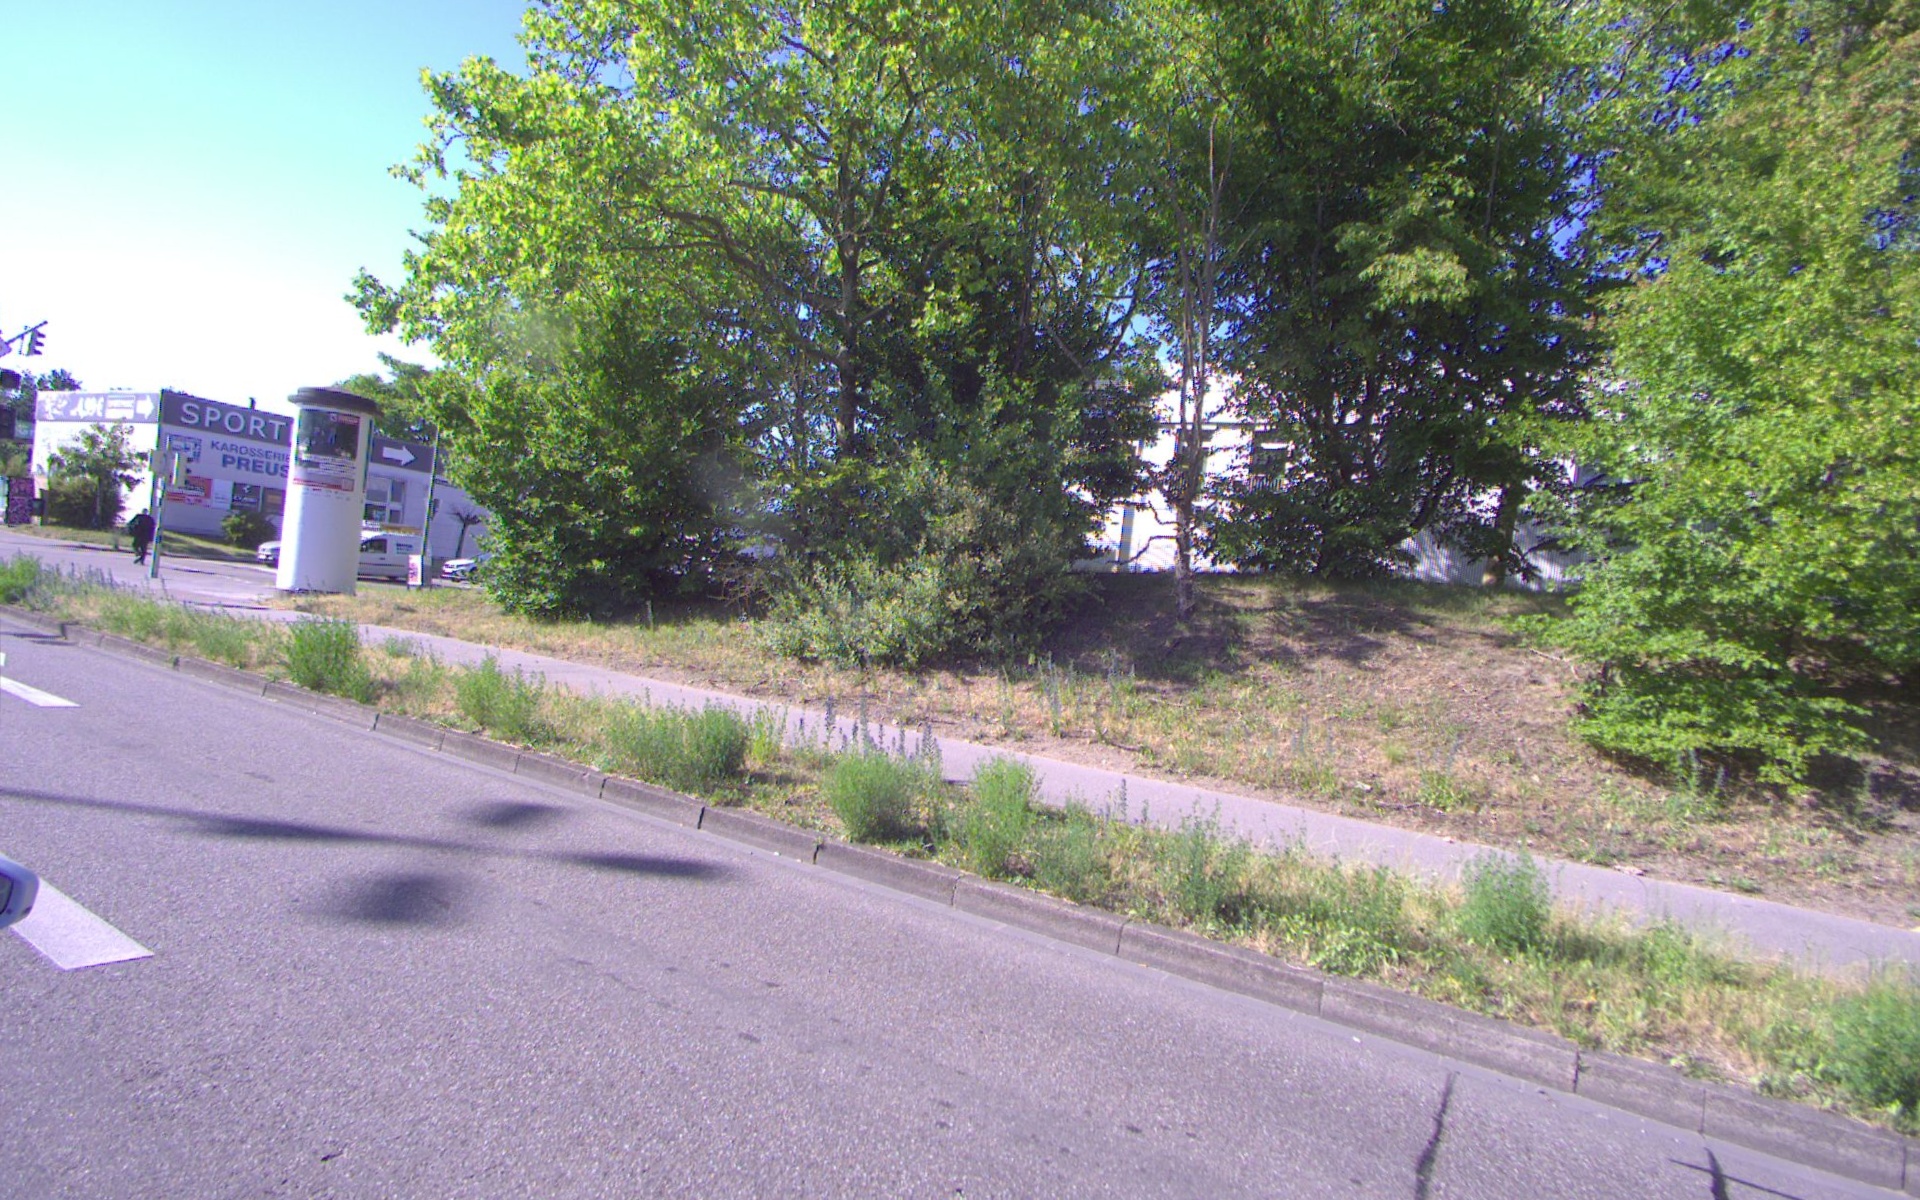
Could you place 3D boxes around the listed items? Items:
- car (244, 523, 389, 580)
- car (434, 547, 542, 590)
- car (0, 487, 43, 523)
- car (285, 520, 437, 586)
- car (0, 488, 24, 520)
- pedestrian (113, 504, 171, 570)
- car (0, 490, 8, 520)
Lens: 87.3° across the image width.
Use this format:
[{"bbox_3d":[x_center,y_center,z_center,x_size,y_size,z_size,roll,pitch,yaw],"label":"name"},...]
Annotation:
[{"bbox_3d":[-24.741,-1.832,38.813,1.735,1.568,4.293,8,1,30],"label":"car"},{"bbox_3d":[-21.112,-1.393,45.179,1.753,1.509,4.046,6,0,30],"label":"car"},{"bbox_3d":[-44.899,-4.512,45.674,1.828,1.472,4.490,6,1,33],"label":"car"},{"bbox_3d":[-21.962,-1.681,37.067,1.735,1.824,4.387,8,1,30],"label":"car"},{"bbox_3d":[-47.670,-4.810,47.679,1.828,1.472,4.490,6,1,33],"label":"car"},{"bbox_3d":[-24.210,-1.859,29.780,0.923,1.755,0.927,6,-2,31],"label":"pedestrian"},{"bbox_3d":[-49.899,-4.948,49.236,1.828,1.472,4.490,6,1,33],"label":"car"}]
